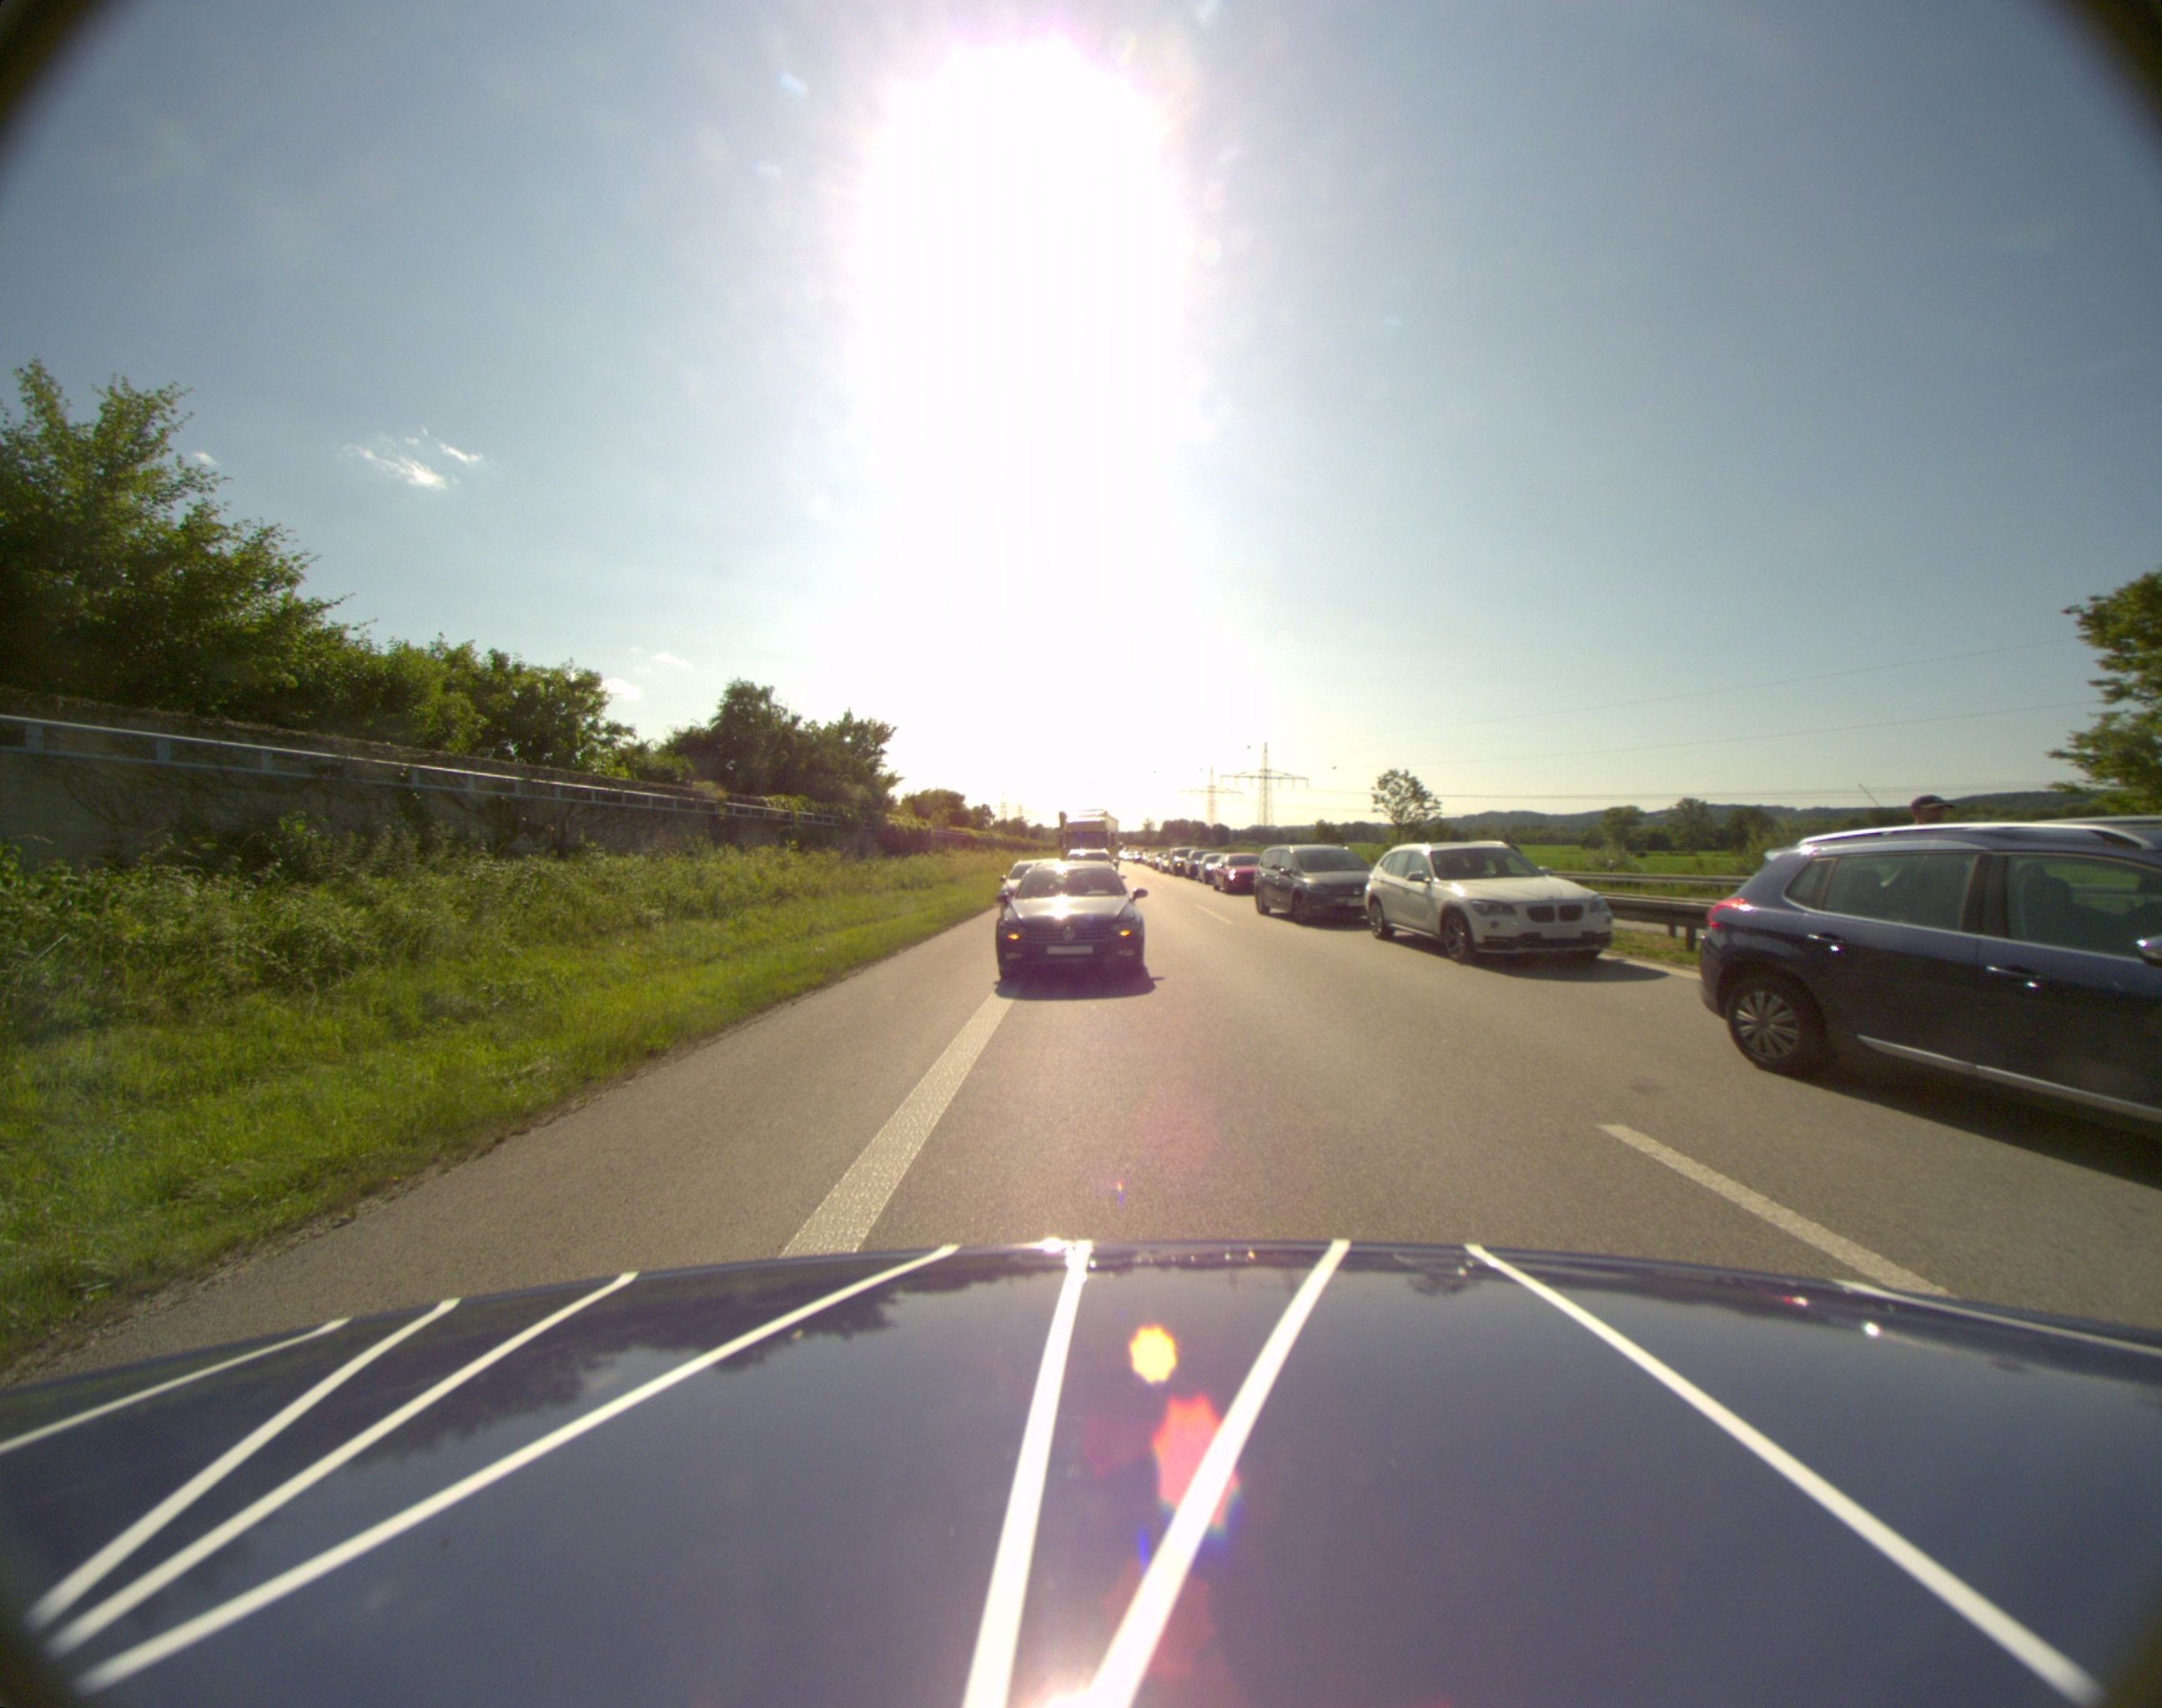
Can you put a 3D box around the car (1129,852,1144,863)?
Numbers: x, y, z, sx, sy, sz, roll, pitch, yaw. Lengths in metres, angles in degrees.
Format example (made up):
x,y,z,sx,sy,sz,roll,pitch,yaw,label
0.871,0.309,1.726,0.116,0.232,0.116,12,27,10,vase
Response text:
x,y,z,sx,sy,sz,roll,pitch,yaw,label
7.746,0.509,105.595,1.819,1.450,4.117,-2,0,1,car

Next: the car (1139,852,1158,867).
x,y,z,sx,sy,sz,roll,pitch,yaw,label
7.066,0.525,79.889,1.819,1.450,4.118,-2,0,3,car

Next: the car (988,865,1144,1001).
x,y,z,sx,sy,sz,roll,pitch,yaw,label
-0.106,0.925,10.734,1.716,1.405,4.325,-2,0,2,car

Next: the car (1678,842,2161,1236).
x,y,z,sx,sy,sz,roll,pitch,yaw,label
5.146,0.735,3.422,1.692,1.526,3.948,-3,0,-2,car

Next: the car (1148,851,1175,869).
x,y,z,sx,sy,sz,roll,pitch,yaw,label
6.981,0.475,66.384,1.998,1.522,4.000,-1,0,1,car

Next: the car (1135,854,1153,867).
x,y,z,sx,sy,sz,roll,pitch,yaw,label
7.142,0.720,86.482,1.819,1.450,4.117,-1,0,1,car

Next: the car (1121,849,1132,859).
x,y,z,sx,sy,sz,roll,pitch,yaw,label
8.456,-0.009,140.944,1.813,1.783,3.773,-1,0,1,car

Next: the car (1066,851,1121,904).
x,y,z,sx,sy,sz,roll,pitch,yaw,label
0.465,0.752,26.519,1.716,1.614,4.325,-2,0,2,car

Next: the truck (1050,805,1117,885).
x,y,z,sx,sy,sz,roll,pitch,yaw,label
0.309,-0.511,43.367,3.332,4.089,6.970,-2,1,3,truck

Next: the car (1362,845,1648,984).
x,y,z,sx,sy,sz,roll,pitch,yaw,label
5.627,0.688,10.785,1.832,1.564,4.164,-1,0,2,car

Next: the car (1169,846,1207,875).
x,y,z,sx,sy,sz,roll,pitch,yaw,label
6.962,0.393,49.913,1.902,1.777,4.200,-1,0,1,car

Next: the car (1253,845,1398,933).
x,y,z,sx,sy,sz,roll,pitch,yaw,label
5.108,0.650,16.485,1.819,1.607,4.117,-2,0,1,car

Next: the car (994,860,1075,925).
x,y,z,sx,sy,sz,roll,pitch,yaw,label
-1.111,0.934,20.092,1.716,1.417,4.325,-2,0,2,car

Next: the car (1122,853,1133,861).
x,y,z,sx,sy,sz,roll,pitch,yaw,label
8.026,0.494,131.616,1.819,1.450,4.118,-1,0,3,car

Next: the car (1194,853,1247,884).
x,y,z,sx,sy,sz,roll,pitch,yaw,label
6.726,0.645,36.956,1.895,1.390,4.000,-1,0,1,car

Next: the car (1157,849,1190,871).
x,y,z,sx,sy,sz,roll,pitch,yaw,label
6.903,0.429,57.090,1.998,1.522,4.000,-1,0,1,car

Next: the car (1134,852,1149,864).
x,y,z,sx,sy,sz,roll,pitch,yaw,label
7.729,0.472,97.166,1.819,1.450,4.118,-1,0,2,car

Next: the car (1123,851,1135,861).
x,y,z,sx,sy,sz,roll,pitch,yaw,label
7.890,0.340,125.970,1.819,1.450,4.118,-2,0,3,car

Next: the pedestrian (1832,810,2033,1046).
x,y,z,sx,sy,sz,roll,pitch,yaw,label
6.686,0.551,6.016,0.672,1.740,0.814,-1,1,1,pedestrian

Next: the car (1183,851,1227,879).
x,y,z,sx,sy,sz,roll,pitch,yaw,label
6.968,0.585,43.043,1.894,1.446,4.000,-1,0,2,car

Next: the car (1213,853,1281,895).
x,y,z,sx,sy,sz,roll,pitch,yaw,label
6.085,0.685,28.265,1.819,1.450,4.118,-1,0,3,car

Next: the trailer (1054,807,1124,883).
x,y,z,sx,sy,sz,roll,pitch,yaw,label
0.848,-0.604,49.454,3.386,4.089,13.955,-2,1,5,trailer
